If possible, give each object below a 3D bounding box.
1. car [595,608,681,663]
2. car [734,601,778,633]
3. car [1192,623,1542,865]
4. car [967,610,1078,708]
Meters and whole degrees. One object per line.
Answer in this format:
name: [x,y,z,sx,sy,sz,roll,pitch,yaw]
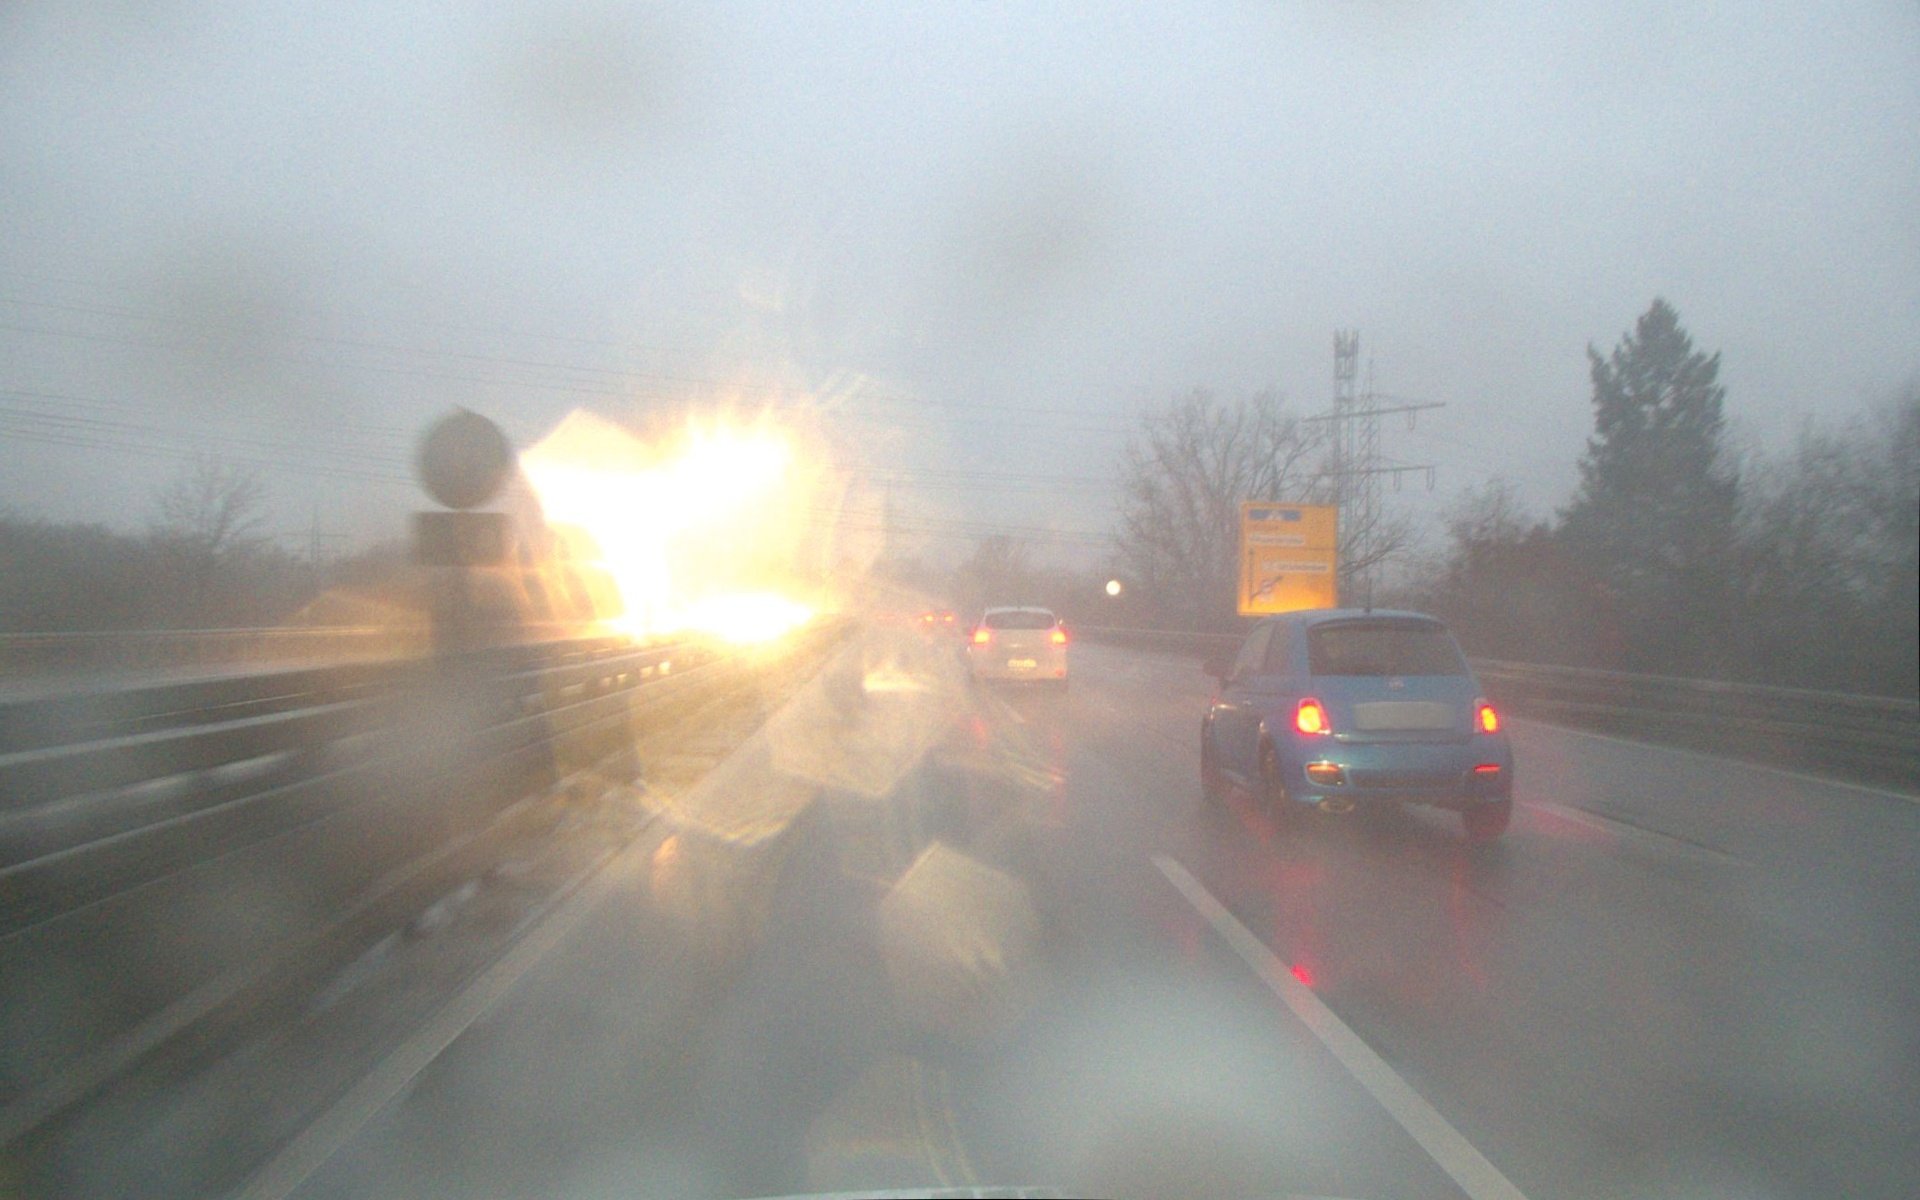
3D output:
car: [-10.048,1.087,51.911,1.953,1.578,4.136,0,1,-1]
car: [-10.690,0.879,87.006,1.780,1.578,4.468,0,1,-1]
car: [2.971,0.976,12.970,1.807,1.479,4.149,0,1,1]
car: [1.086,1.032,30.391,1.808,1.664,3.766,1,0,-1]
